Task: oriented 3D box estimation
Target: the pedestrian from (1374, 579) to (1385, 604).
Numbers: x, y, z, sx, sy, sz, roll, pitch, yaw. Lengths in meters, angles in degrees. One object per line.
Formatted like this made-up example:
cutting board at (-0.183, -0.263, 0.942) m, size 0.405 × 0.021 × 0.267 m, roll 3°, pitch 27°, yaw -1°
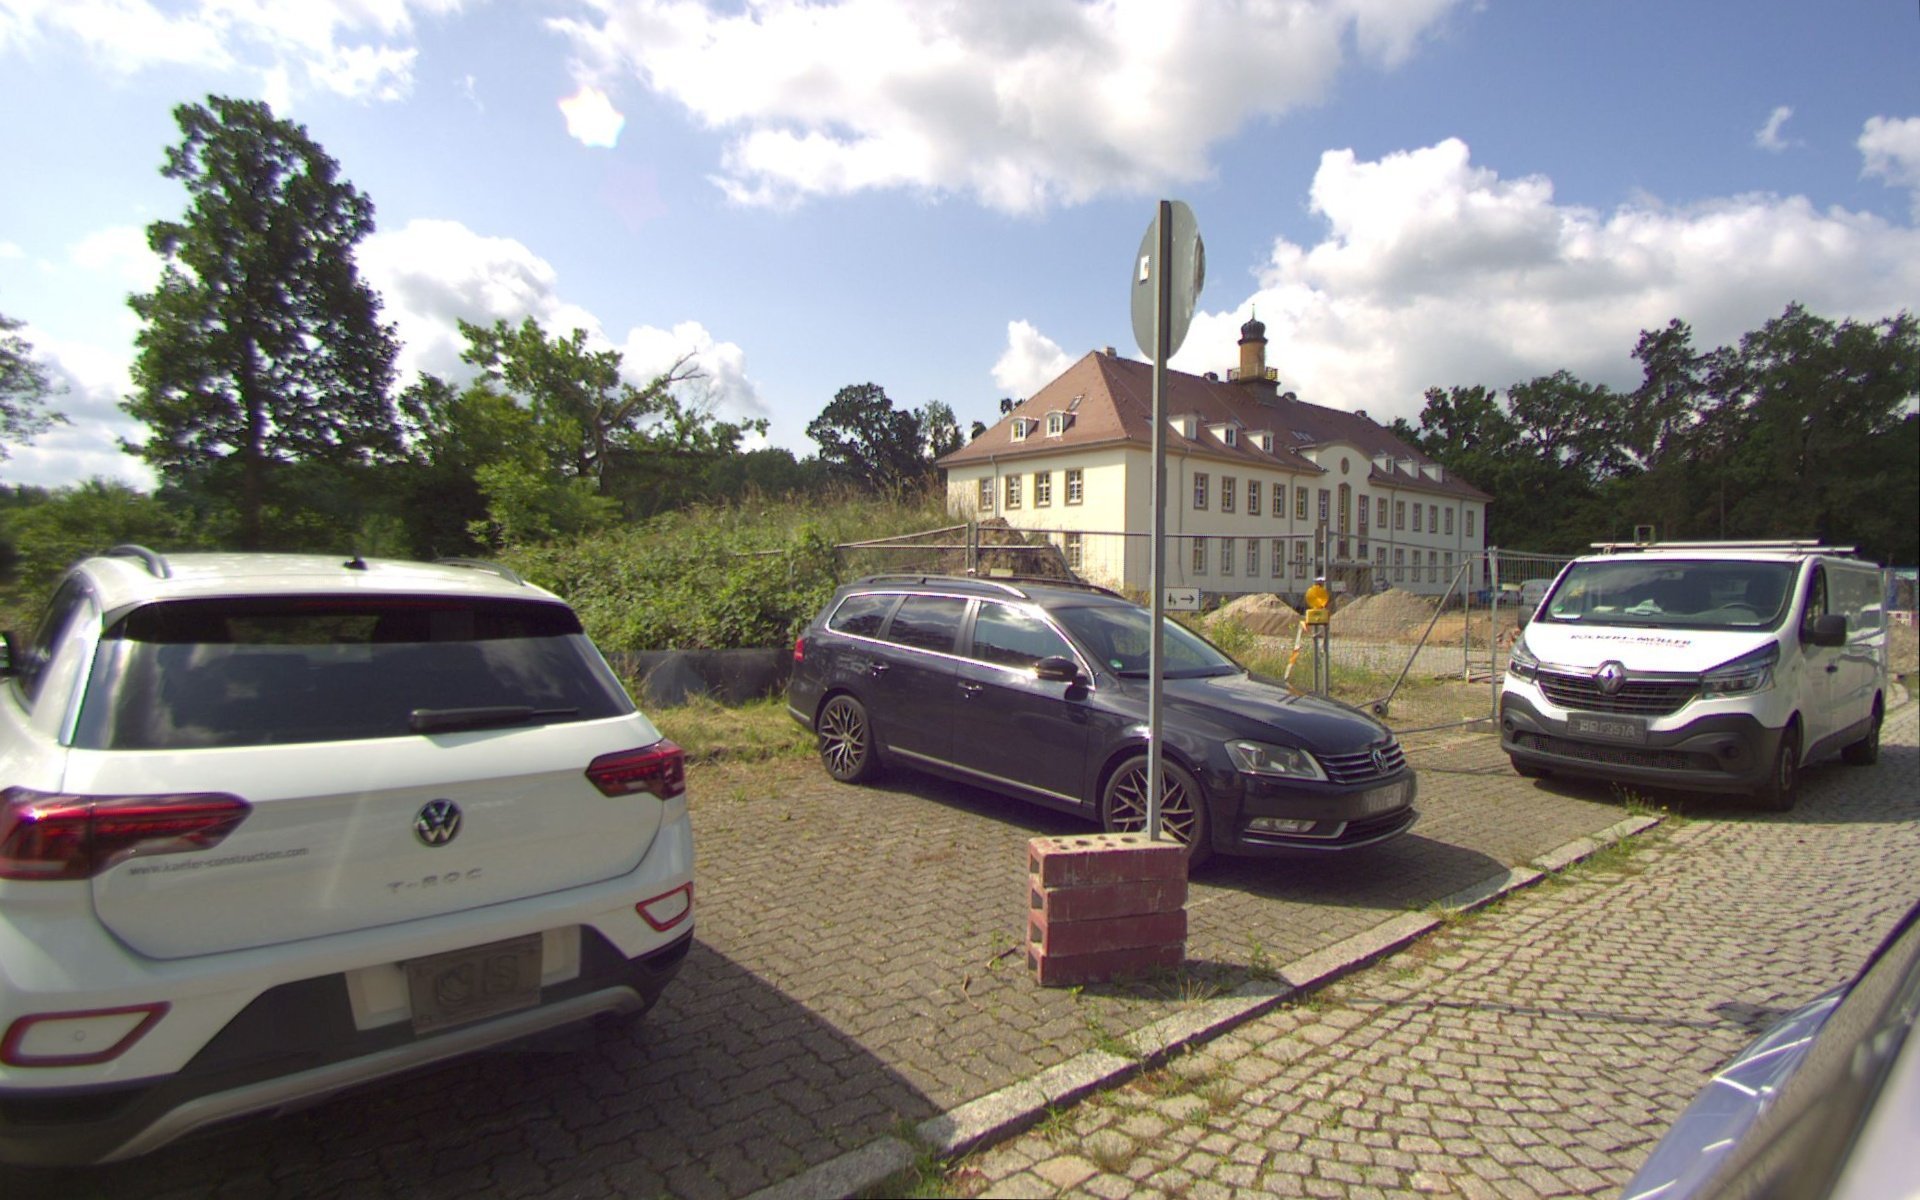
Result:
pedestrian at (30.638, -0.648, 73.901) m, size 0.496 × 1.810 × 0.492 m, roll 1°, pitch 0°, yaw -18°

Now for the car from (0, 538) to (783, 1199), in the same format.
car at (-2.485, 0.569, 3.765) m, size 1.717 × 1.525 × 3.993 m, roll 0°, pitch 3°, yaw -42°

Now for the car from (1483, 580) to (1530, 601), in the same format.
car at (46.097, -0.802, 85.324) m, size 4.624 × 1.749 × 1.884 m, roll 0°, pitch 2°, yaw -40°

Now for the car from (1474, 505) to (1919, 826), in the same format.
car at (6.851, 0.383, 9.079) m, size 5.577 × 2.079 × 1.918 m, roll 0°, pitch 2°, yaw -40°

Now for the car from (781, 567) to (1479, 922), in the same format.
car at (0.787, 0.598, 6.785) m, size 1.717 × 1.493 × 4.458 m, roll 0°, pitch 3°, yaw -44°

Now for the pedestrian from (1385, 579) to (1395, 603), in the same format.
pedestrian at (31.786, -0.654, 74.760) m, size 0.498 × 1.810 × 0.490 m, roll 1°, pitch 0°, yaw -43°

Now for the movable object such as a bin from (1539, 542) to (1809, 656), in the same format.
movable object such as a bin at (17.568, -0.016, 25.002) m, size 5.538 × 2.553 × 2.154 m, roll 2°, pitch 1°, yaw -12°
